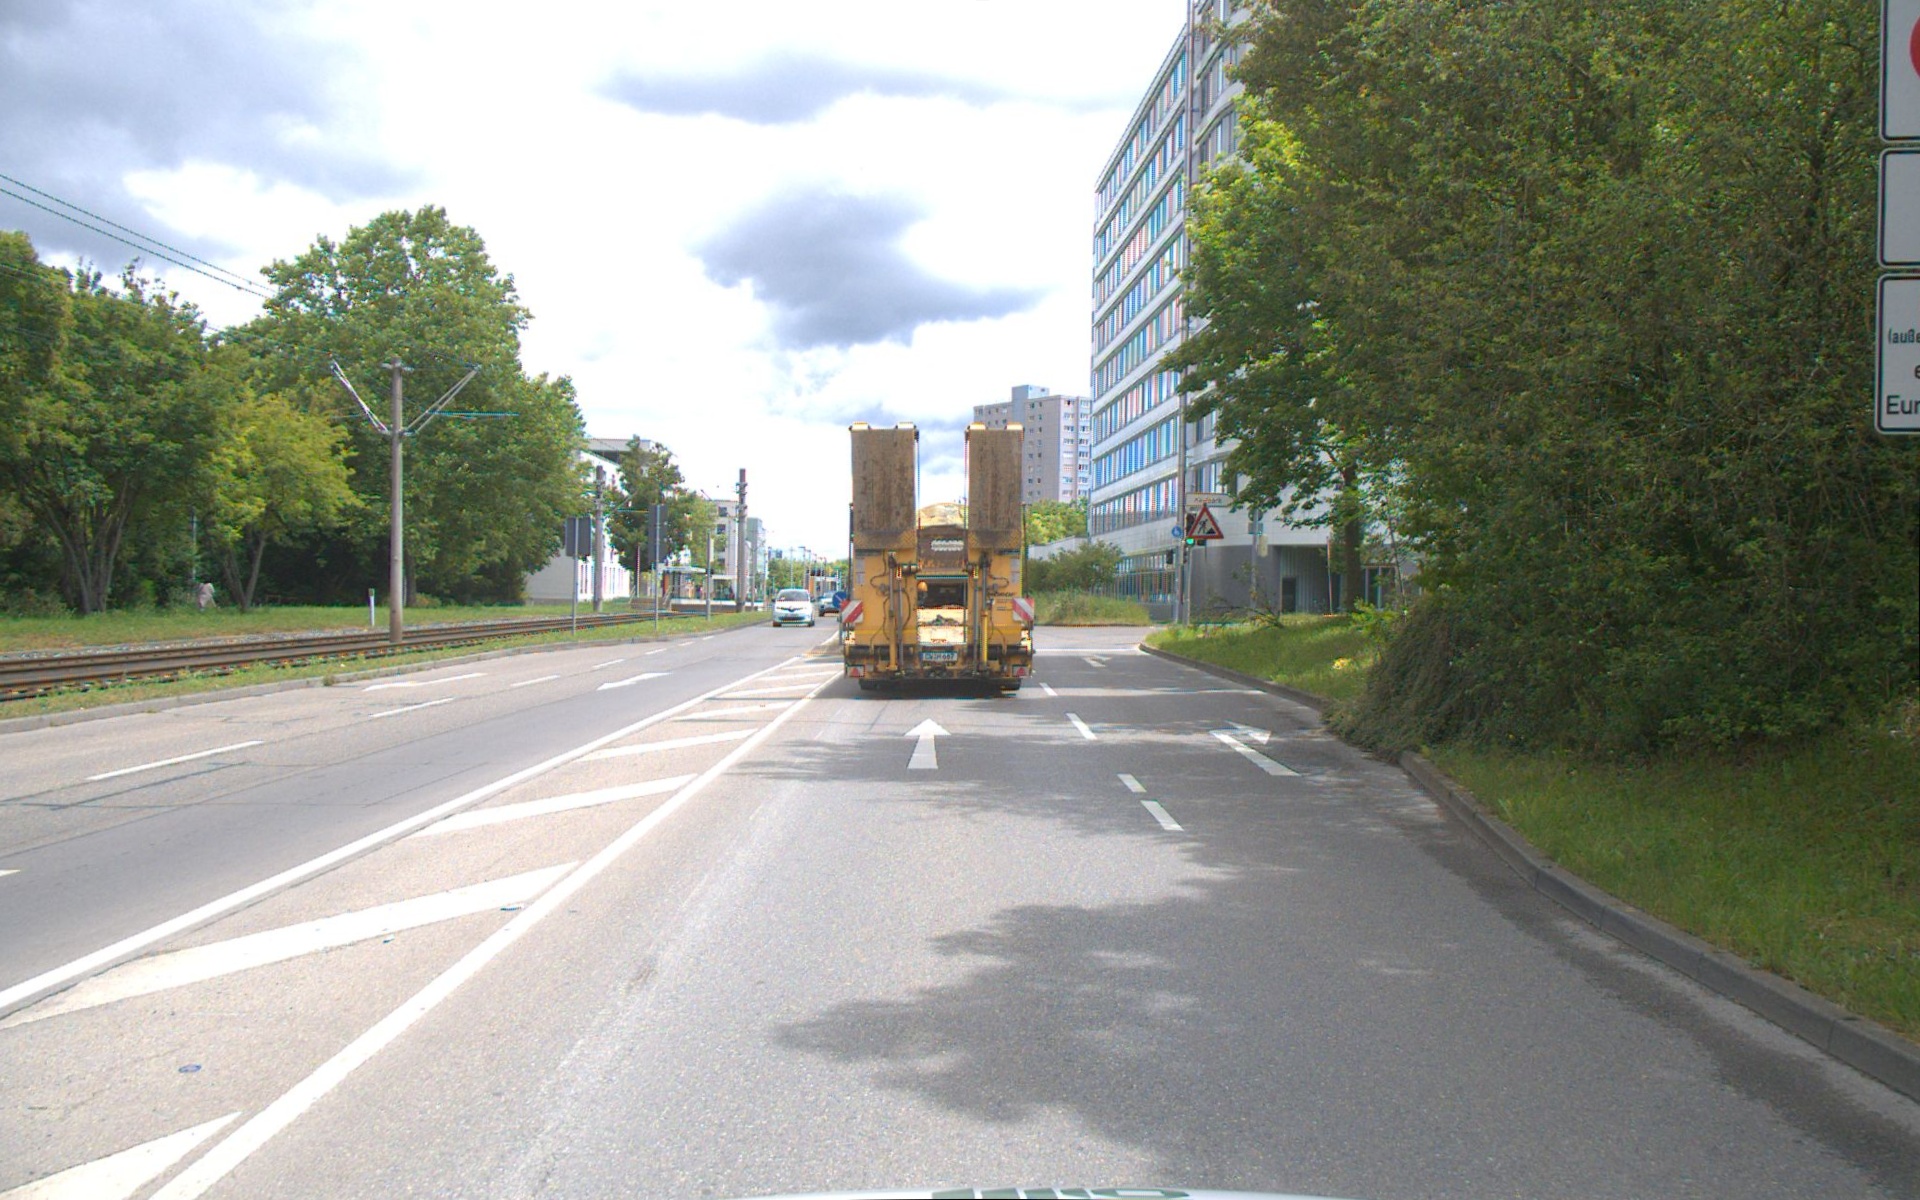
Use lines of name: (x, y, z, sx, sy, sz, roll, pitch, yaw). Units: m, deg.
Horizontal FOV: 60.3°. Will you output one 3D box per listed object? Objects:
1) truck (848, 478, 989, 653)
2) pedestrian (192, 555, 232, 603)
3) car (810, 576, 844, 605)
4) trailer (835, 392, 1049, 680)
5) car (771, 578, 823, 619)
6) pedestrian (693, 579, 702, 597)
truck: (-0.962, -0.661, 36.482, 2.698, 3.371, 8.347, 1, 0, -2)
pedestrian: (-30.850, -0.867, 68.253, 1.013, 1.967, 1.363, 1, 0, -1)
car: (-8.529, -0.637, 106.162, 1.822, 1.638, 4.609, 0, 3, 0)
trailer: (-0.525, -0.791, 26.697, 2.675, 3.621, 11.246, 1, 0, -3)
car: (-6.804, -0.034, 69.318, 1.693, 1.640, 4.263, 1, 0, 0)
pedestrian: (-24.069, -1.103, 151.844, 0.726, 1.558, 0.547, 1, -1, 1)
